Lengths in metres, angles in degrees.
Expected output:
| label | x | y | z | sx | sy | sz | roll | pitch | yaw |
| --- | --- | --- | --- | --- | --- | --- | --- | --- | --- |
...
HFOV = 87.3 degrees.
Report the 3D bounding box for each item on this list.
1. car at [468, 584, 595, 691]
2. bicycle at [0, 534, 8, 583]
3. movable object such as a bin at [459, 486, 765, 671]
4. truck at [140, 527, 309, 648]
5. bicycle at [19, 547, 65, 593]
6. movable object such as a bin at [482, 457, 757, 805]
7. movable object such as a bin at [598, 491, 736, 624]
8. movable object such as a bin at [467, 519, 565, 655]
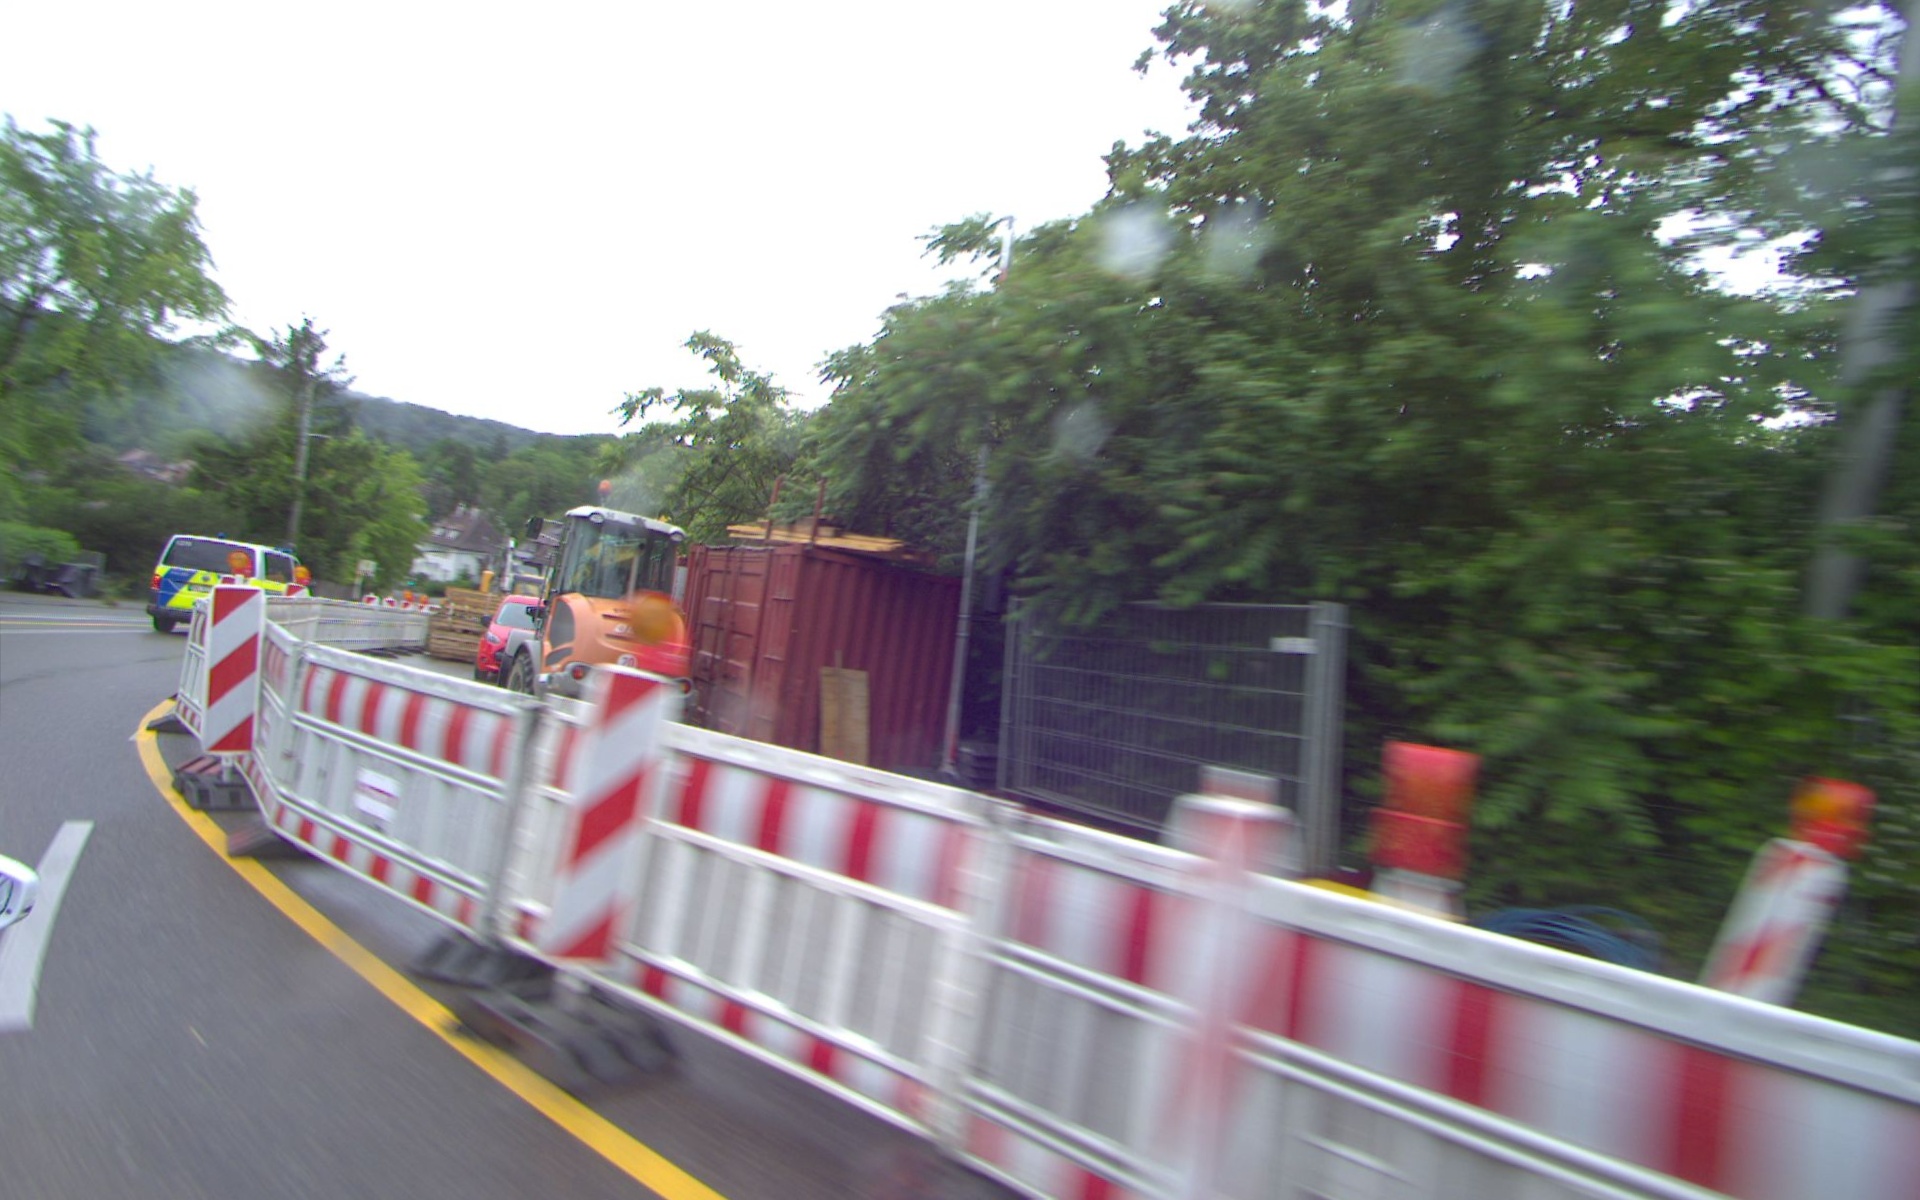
| label | x | y | z | sx | sy | sz | roll | pitch | yaw |
| --- | --- | --- | --- | --- | --- | --- | --- | --- | --- |
| car | -9.049 | 0.764 | 21.663 | 1.972 | 1.798 | 4.981 | 9 | -4 | -19 |
| bicycle | -23.774 | -1.005 | 24.222 | 0.416 | 1.363 | 1.737 | 8 | -4 | -19 |
| movable object such as a bin | -11.477 | -0.722 | 32.499 | 10.653 | 4.968 | 3.064 | 3 | -6 | 34 |
| truck | -15.319 | -0.363 | 21.236 | 1.976 | 2.039 | 4.700 | 7 | 1 | -27 |
| bicycle | -24.904 | -0.809 | 27.308 | 0.334 | 1.119 | 1.252 | 8 | -4 | -19 |
| movable object such as a bin | -4.476 | 0.124 | 12.443 | 2.060 | 3.267 | 5.242 | 9 | 2 | -27 |
| movable object such as a bin | -17.585 | -2.410 | 60.335 | 6.885 | 6.763 | 3.031 | 8 | -3 | -24 |
| movable object such as a bin | -12.486 | -0.228 | 28.384 | 1.975 | 3.338 | 3.821 | 8 | -5 | -23 |
